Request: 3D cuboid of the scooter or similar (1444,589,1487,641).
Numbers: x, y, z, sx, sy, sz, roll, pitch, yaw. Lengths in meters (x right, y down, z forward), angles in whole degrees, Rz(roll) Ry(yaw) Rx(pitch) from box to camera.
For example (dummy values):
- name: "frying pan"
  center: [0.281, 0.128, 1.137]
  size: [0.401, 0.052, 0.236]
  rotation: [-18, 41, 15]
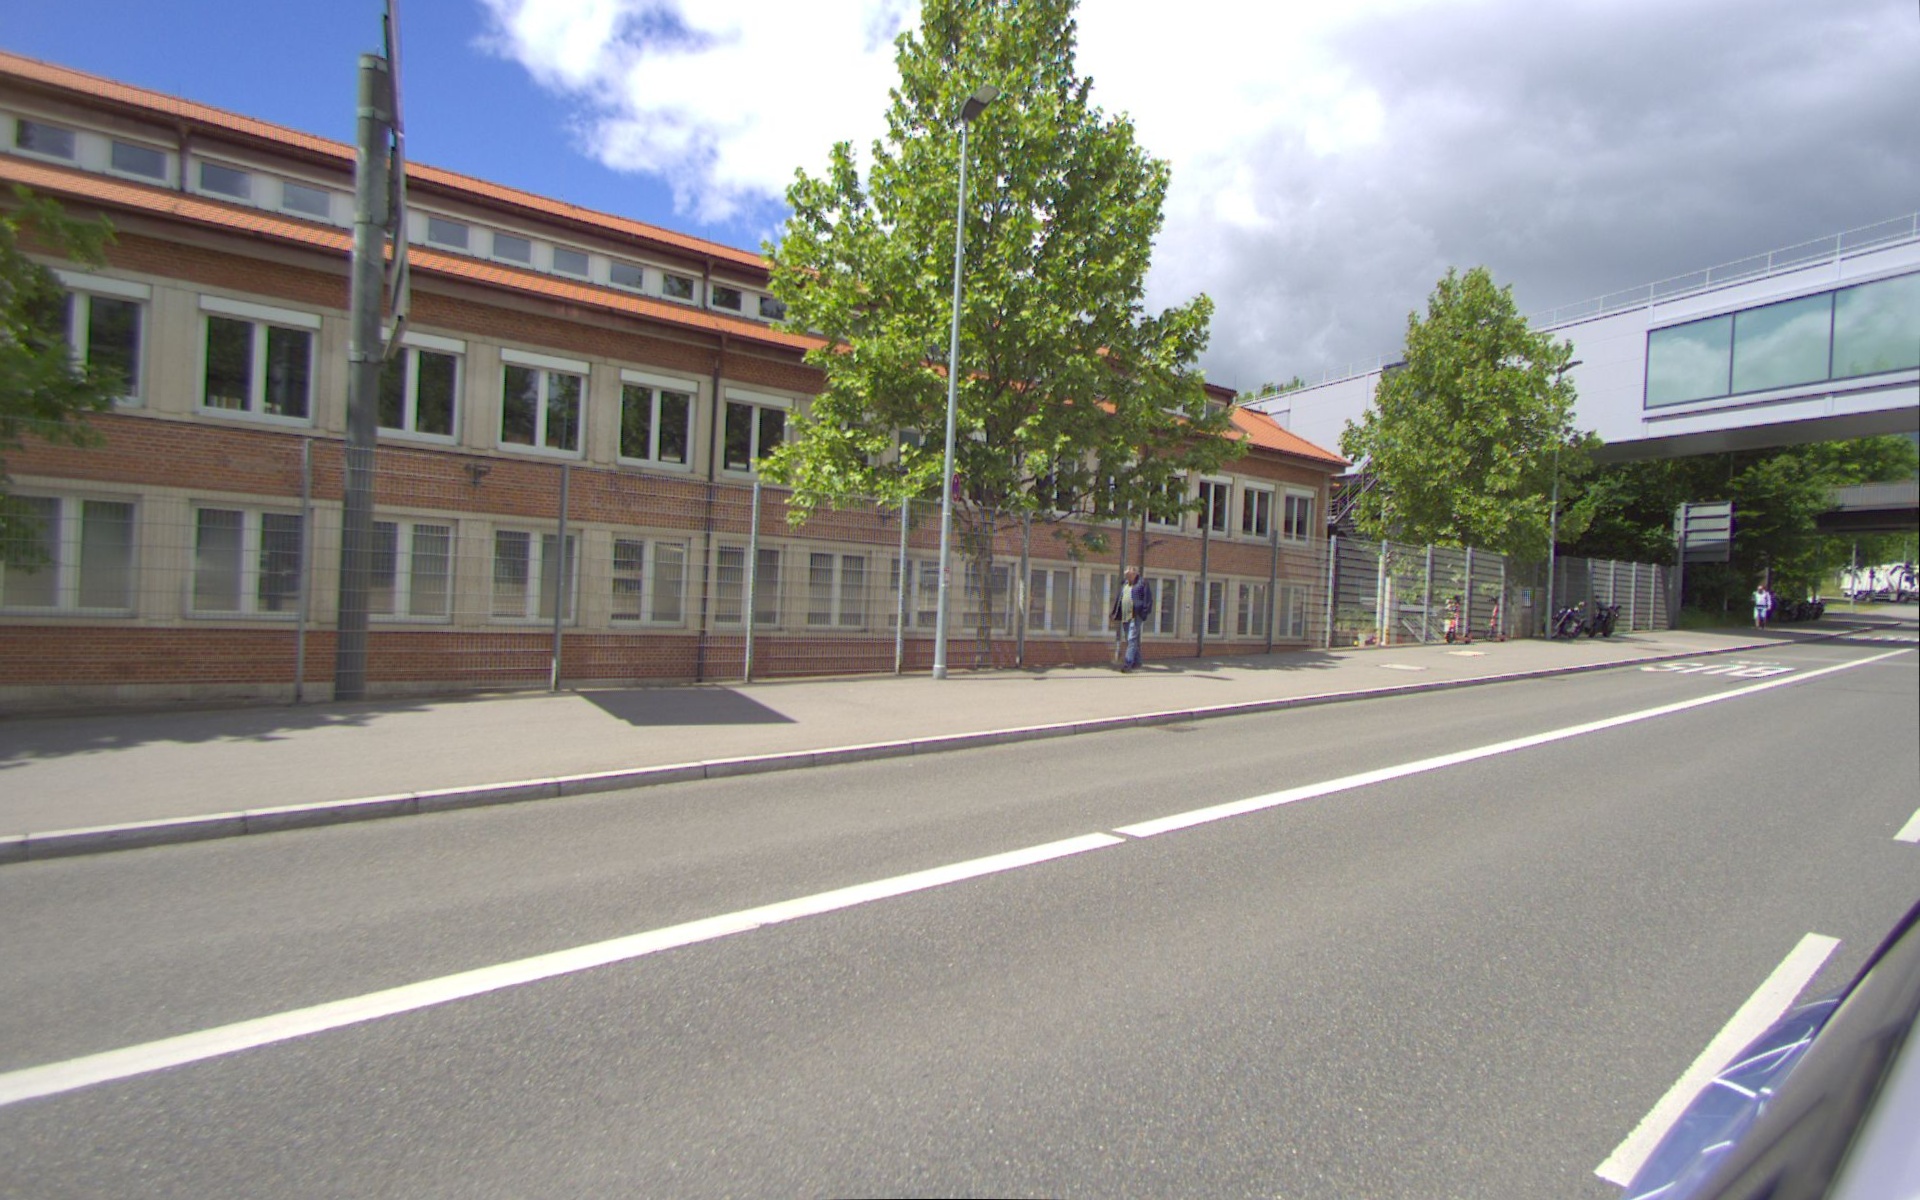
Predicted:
- name: "scooter or similar"
  center: [13.323, 0.379, 26.665]
  size: [1.313, 1.310, 0.492]
  rotation: [0, 2, -41]

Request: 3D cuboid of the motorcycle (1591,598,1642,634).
- name: "motorcycle"
  center: [21.344, 0.496, 32.882]
  size: [2.466, 1.077, 0.709]
  rotation: [0, 4, -41]

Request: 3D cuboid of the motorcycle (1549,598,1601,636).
- name: "motorcycle"
  center: [18.721, 0.493, 30.805]
  size: [2.208, 1.077, 0.670]
  rotation: [0, 4, -41]

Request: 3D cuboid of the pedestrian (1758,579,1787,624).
- name: "pedestrian"
  center: [35.650, 0.058, 44.405]
  size: [1.078, 1.911, 0.791]
  rotation: [0, 2, -41]

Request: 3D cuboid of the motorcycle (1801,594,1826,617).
- name: "motorcycle"
  center: [45.319, 0.299, 53.722]
  size: [2.123, 1.157, 0.679]
  rotation: [0, 2, -42]

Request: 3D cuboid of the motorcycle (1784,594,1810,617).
- name: "motorcycle"
  center: [43.315, 0.266, 52.365]
  size: [2.075, 1.169, 0.679]
  rotation: [0, 2, -40]

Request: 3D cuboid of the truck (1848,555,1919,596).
- name: "truck"
  center: [96.109, -2.438, 103.242]
  size: [2.739, 4.055, 10.075]
  rotation: [1, 1, 4]

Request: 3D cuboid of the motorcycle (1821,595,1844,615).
- name: "motorcycle"
  center: [48.952, 0.271, 56.750]
  size: [2.143, 1.096, 0.679]
  rotation: [0, 2, -42]

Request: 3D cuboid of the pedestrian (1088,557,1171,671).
- name: "pedestrian"
  center: [2.767, 0.212, 16.526]
  size: [0.924, 1.764, 0.879]
  rotation: [0, 3, -41]

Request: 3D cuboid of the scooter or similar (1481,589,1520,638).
- name: "scooter or similar"
  center: [15.049, 0.360, 28.176]
  size: [1.313, 1.310, 0.492]
  rotation: [0, 2, -41]

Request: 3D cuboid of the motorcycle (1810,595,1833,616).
- name: "motorcycle"
  center: [47.085, 0.280, 55.284]
  size: [2.003, 1.096, 0.679]
  rotation: [0, 2, -42]
